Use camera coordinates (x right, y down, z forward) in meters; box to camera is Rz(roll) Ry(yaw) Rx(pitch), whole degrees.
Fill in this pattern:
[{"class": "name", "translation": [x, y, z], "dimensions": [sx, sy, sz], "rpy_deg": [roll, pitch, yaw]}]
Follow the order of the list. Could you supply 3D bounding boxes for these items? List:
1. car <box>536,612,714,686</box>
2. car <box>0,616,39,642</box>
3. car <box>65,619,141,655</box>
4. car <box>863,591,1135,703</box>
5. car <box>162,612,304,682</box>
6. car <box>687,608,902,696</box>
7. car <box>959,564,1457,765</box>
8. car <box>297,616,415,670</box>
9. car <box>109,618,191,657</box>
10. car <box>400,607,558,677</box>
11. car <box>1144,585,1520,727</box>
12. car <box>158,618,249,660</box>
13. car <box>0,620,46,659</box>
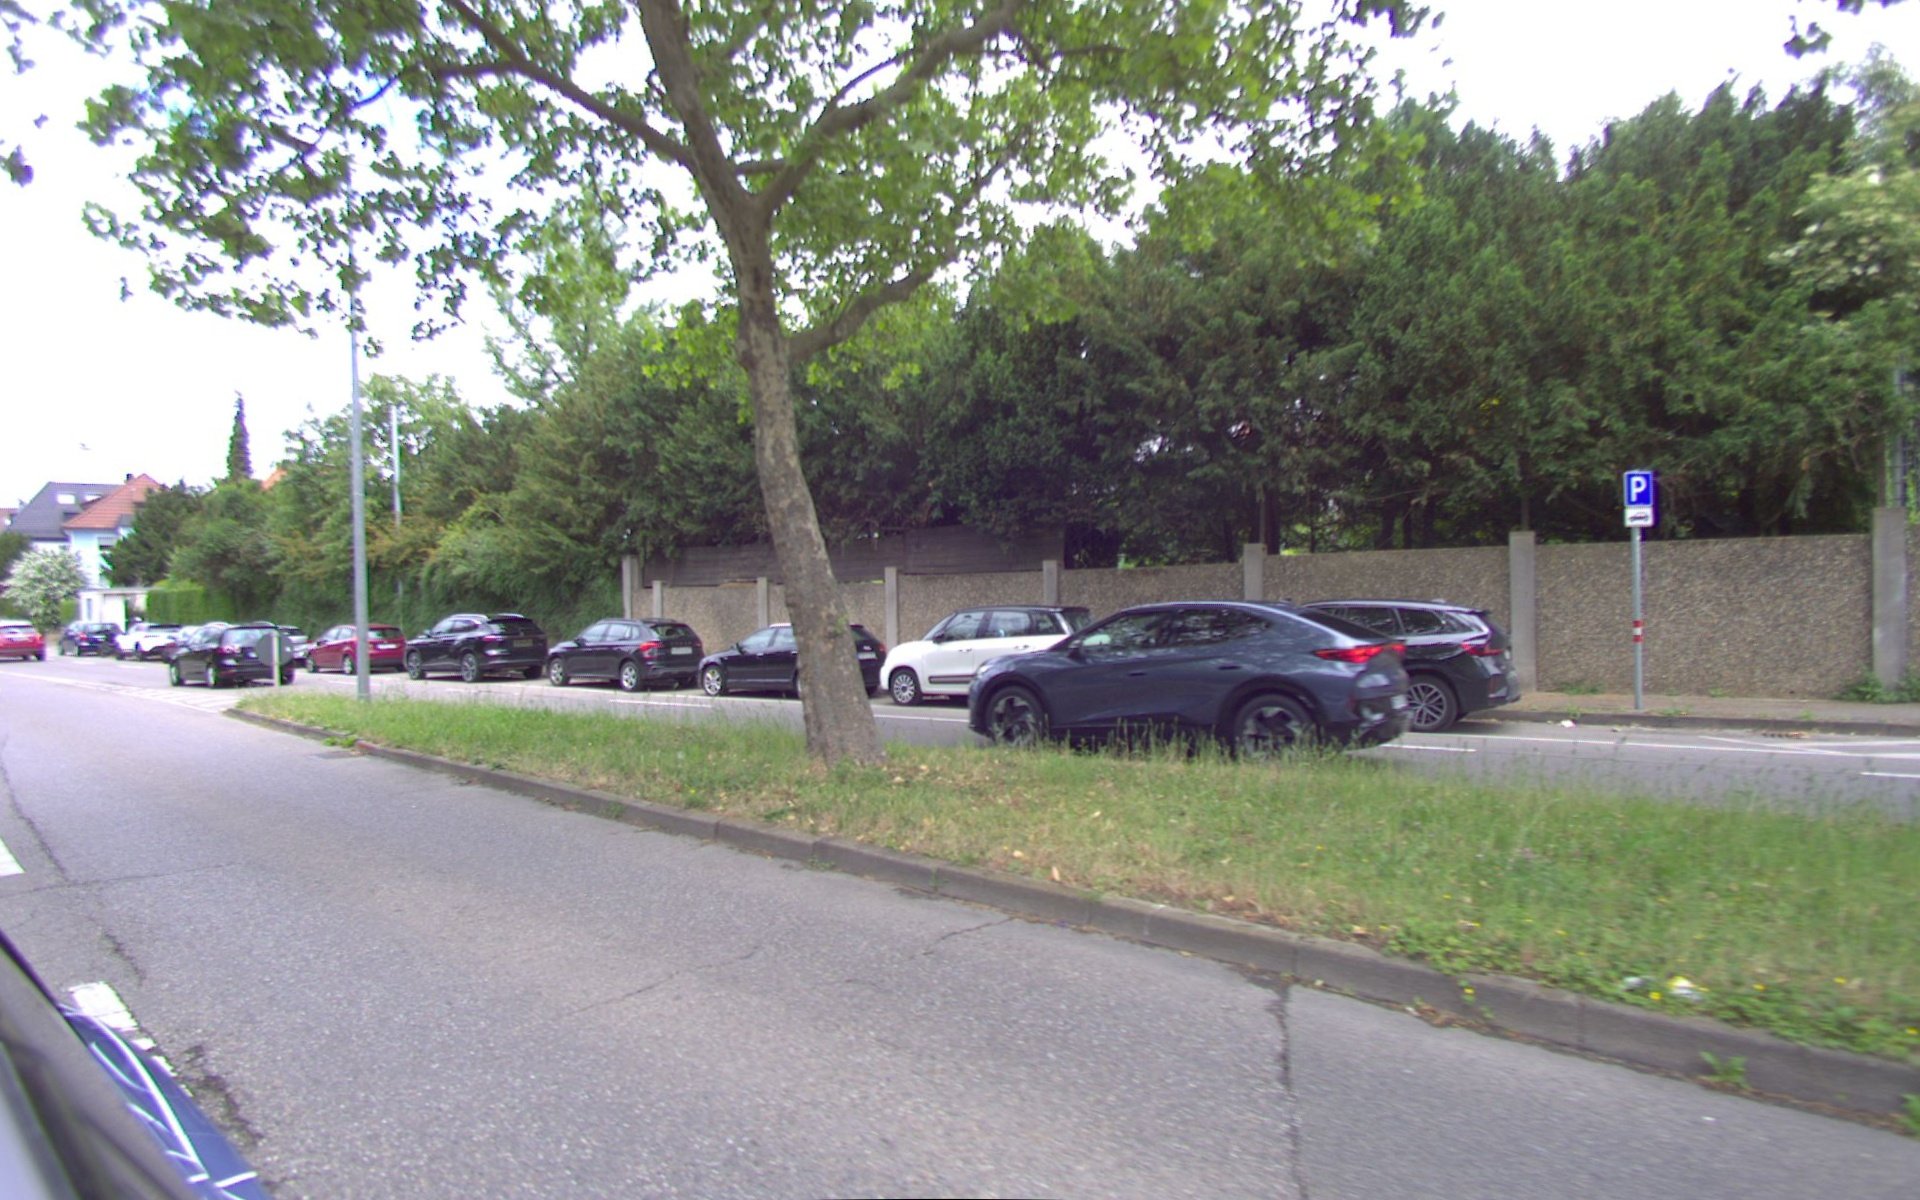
[{"class": "car", "translation": [-7.555, 1.076, 22.685], "dimensions": [4.030, 1.516, 1.775], "rpy_deg": [-2, -2, 36]}, {"class": "car", "translation": [-51.501, 1.583, 54.954], "dimensions": [3.828, 1.339, 1.665], "rpy_deg": [-2, 1, 40]}, {"class": "car", "translation": [-37.462, 1.608, 44.230], "dimensions": [3.823, 1.516, 1.666], "rpy_deg": [-2, -2, 36]}, {"class": "car", "translation": [0.574, 0.750, 16.675], "dimensions": [4.209, 1.628, 1.775], "rpy_deg": [-2, -2, 36]}, {"class": "car", "translation": [-18.354, 1.150, 25.514], "dimensions": [3.906, 1.628, 1.822], "rpy_deg": [-2, -2, 37]}, {"class": "car", "translation": [-3.229, 0.966, 19.475], "dimensions": [4.030, 1.516, 1.775], "rpy_deg": [-2, -2, 36]}, {"class": "car", "translation": [2.372, 0.593, 10.269], "dimensions": [4.576, 1.628, 1.776], "rpy_deg": [-2, -2, 35]}, {"class": "car", "translation": [-18.110, 1.261, 30.297], "dimensions": [3.823, 1.516, 1.666], "rpy_deg": [-2, -2, 36]}, {"class": "car", "translation": [-33.016, 1.540, 41.234], "dimensions": [3.823, 1.516, 1.666], "rpy_deg": [-2, -2, 36]}, {"class": "car", "translation": [-12.310, 1.045, 25.859], "dimensions": [4.026, 1.615, 1.778], "rpy_deg": [-2, 0, 33]}, {"class": "car", "translation": [4.895, 0.707, 13.569], "dimensions": [4.449, 1.628, 1.777], "rpy_deg": [-2, -2, 33]}, {"class": "car", "translation": [-28.450, 1.462, 38.027], "dimensions": [3.823, 1.516, 1.666], "rpy_deg": [-2, -2, 36]}, {"class": "car", "translation": [-38.883, 1.613, 41.224], "dimensions": [3.823, 1.516, 1.666], "rpy_deg": [-2, -2, 36]}]
